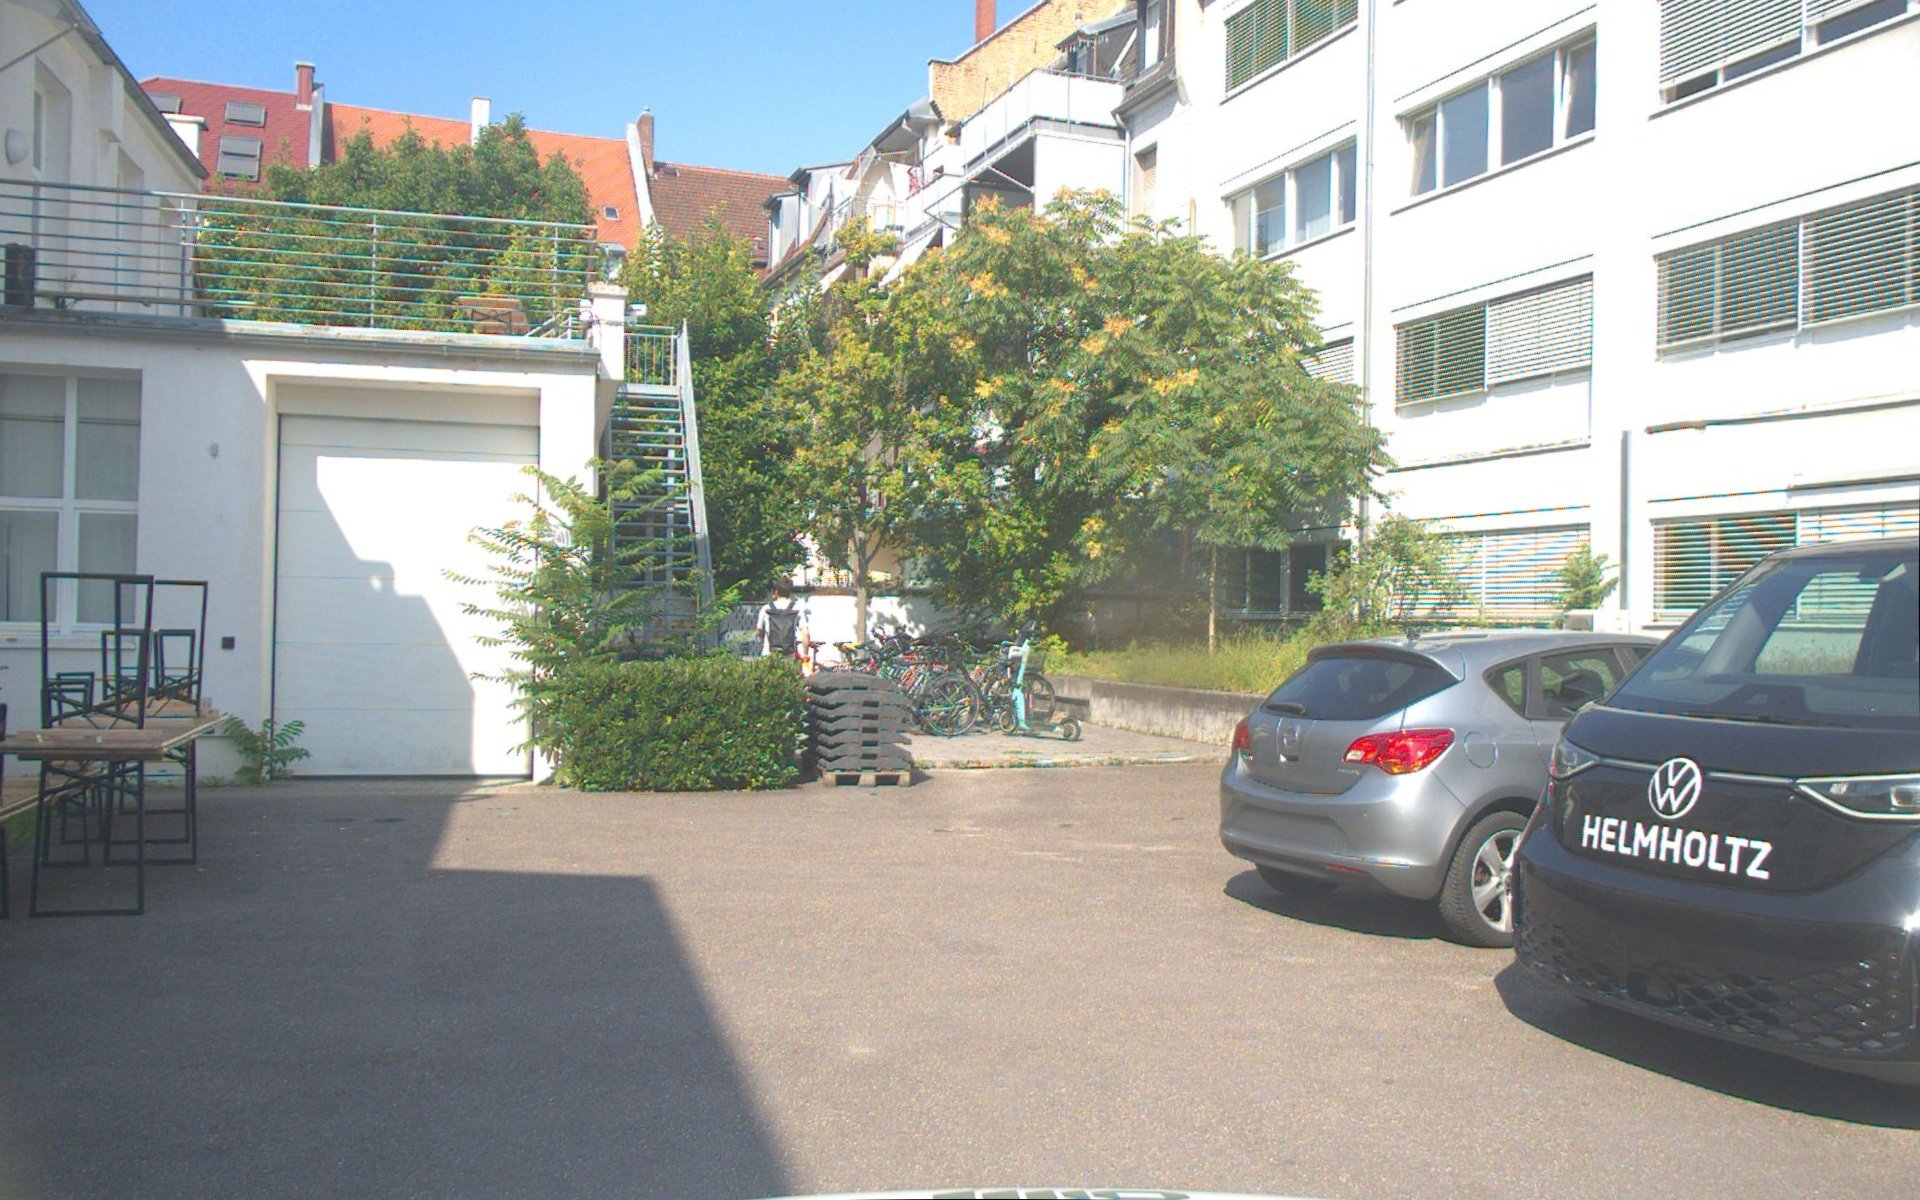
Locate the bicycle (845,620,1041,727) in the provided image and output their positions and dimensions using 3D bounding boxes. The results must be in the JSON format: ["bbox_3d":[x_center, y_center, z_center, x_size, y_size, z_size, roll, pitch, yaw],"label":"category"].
[{"bbox_3d":[-0.205,0.922,20.665,2.371,1.268,0.524,2,-1,-15],"label":"bicycle"}]

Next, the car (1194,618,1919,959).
[{"bbox_3d":[3.321,0.867,9.011,3.852,1.491,1.647,1,0,-29],"label":"car"}]

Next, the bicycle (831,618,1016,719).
[{"bbox_3d":[-0.485,0.908,21.909,2.371,1.268,0.524,2,-1,-15],"label":"bicycle"}]

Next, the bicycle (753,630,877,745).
[{"bbox_3d":[-1.647,0.949,18.497,0.484,1.163,1.970,0,0,-34],"label":"bicycle"}]

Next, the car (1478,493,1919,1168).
[{"bbox_3d":[4.291,0.665,6.315,4.279,1.891,1.900,1,0,-25],"label":"car"}]

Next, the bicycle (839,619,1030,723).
[{"bbox_3d":[-0.317,0.911,21.217,2.371,1.268,0.524,2,-1,-15],"label":"bicycle"}]

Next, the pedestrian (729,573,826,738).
[{"bbox_3d":[-2.048,0.613,18.539,0.852,1.803,0.603,2,-1,-37],"label":"pedestrian"}]

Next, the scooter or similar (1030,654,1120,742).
[{"bbox_3d":[1.319,1.110,18.962,0.980,0.940,0.359,1,-1,38],"label":"scooter or similar"}]

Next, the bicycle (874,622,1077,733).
[{"bbox_3d":[0.190,0.934,19.896,2.371,1.268,0.524,2,-1,-15],"label":"bicycle"}]

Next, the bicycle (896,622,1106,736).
[{"bbox_3d":[0.485,0.922,19.281,2.371,1.268,0.524,2,-1,-15],"label":"bicycle"}]
